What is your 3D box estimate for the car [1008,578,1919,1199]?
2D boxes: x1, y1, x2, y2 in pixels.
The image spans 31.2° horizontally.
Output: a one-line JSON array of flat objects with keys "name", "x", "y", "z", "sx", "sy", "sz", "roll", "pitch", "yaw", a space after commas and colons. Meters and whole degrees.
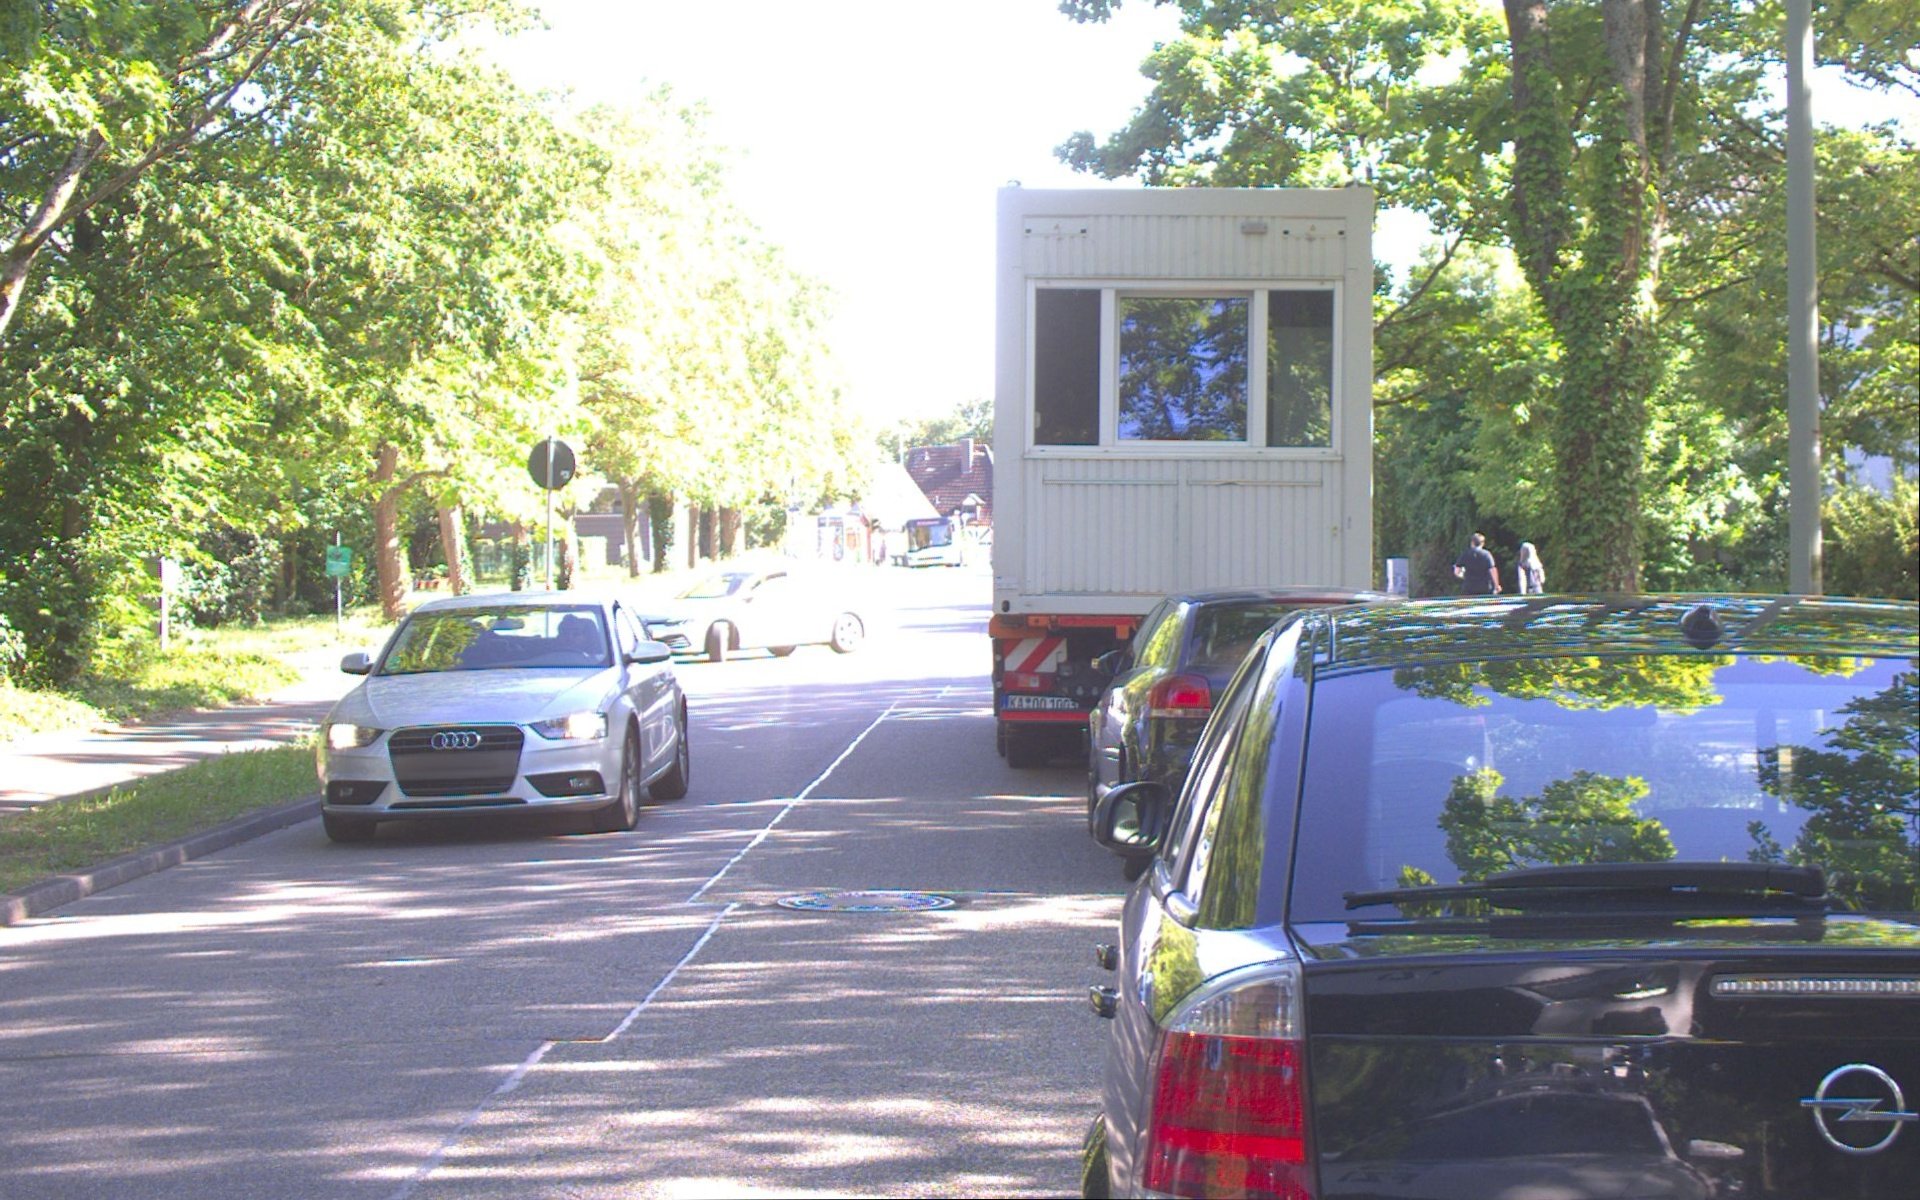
[{"name": "car", "x": 1.034, "y": 0.703, "z": 5.609, "sx": 1.748, "sy": 1.475, "sz": 4.030, "roll": 0, "pitch": 0, "yaw": 3}]

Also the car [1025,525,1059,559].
[{"name": "car", "x": 4.539, "y": -3.235, "z": 191.421, "sx": 1.781, "sy": 1.802, "sz": 4.000, "roll": -2, "pitch": 1, "yaw": 1}]

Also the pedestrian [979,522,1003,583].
[{"name": "pedestrian", "x": 1.098, "y": -1.669, "z": 120.098, "sx": 0.752, "sy": 2.106, "sz": 0.799, "roll": 1, "pitch": 1, "yaw": 4}]

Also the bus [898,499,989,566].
[{"name": "bus", "x": -0.802, "y": -3.580, "z": 182.891, "sx": 4.065, "sy": 3.337, "sz": 9.800, "roll": -2, "pitch": 1, "yaw": 4}]

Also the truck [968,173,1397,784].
[{"name": "truck", "x": 1.525, "y": -0.894, "z": 27.741, "sx": 2.773, "sy": 3.982, "sz": 10.348, "roll": 1, "pitch": 1, "yaw": 1}]

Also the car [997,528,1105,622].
[{"name": "car", "x": 1.827, "y": -0.528, "z": 70.107, "sx": 1.946, "sy": 1.836, "sz": 4.000, "roll": -1, "pitch": 1, "yaw": -2}]

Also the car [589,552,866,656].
[{"name": "car", "x": -3.593, "y": 0.058, "z": 53.489, "sx": 3.948, "sy": 1.415, "sz": 1.811, "roll": -3, "pitch": 1, "yaw": -40}]

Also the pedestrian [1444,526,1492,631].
[{"name": "pedestrian", "x": 7.976, "y": -0.342, "z": 53.952, "sx": 0.598, "sy": 1.605, "sz": 0.600, "roll": -2, "pitch": 1, "yaw": -1}]

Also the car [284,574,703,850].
[{"name": "car", "x": -2.746, "y": 0.612, "z": 21.146, "sx": 1.787, "sy": 1.412, "sz": 4.104, "roll": -2, "pitch": 1, "yaw": 3}]

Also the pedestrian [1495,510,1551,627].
[{"name": "pedestrian", "x": 8.826, "y": -0.500, "z": 53.886, "sx": 0.698, "sy": 1.806, "sz": 0.700, "roll": -2, "pitch": 1, "yaw": -1}]

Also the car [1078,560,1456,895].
[{"name": "car", "x": 1.501, "y": 0.553, "z": 17.477, "sx": 1.640, "sy": 1.415, "sz": 4.000, "roll": -2, "pitch": 1, "yaw": 4}]
